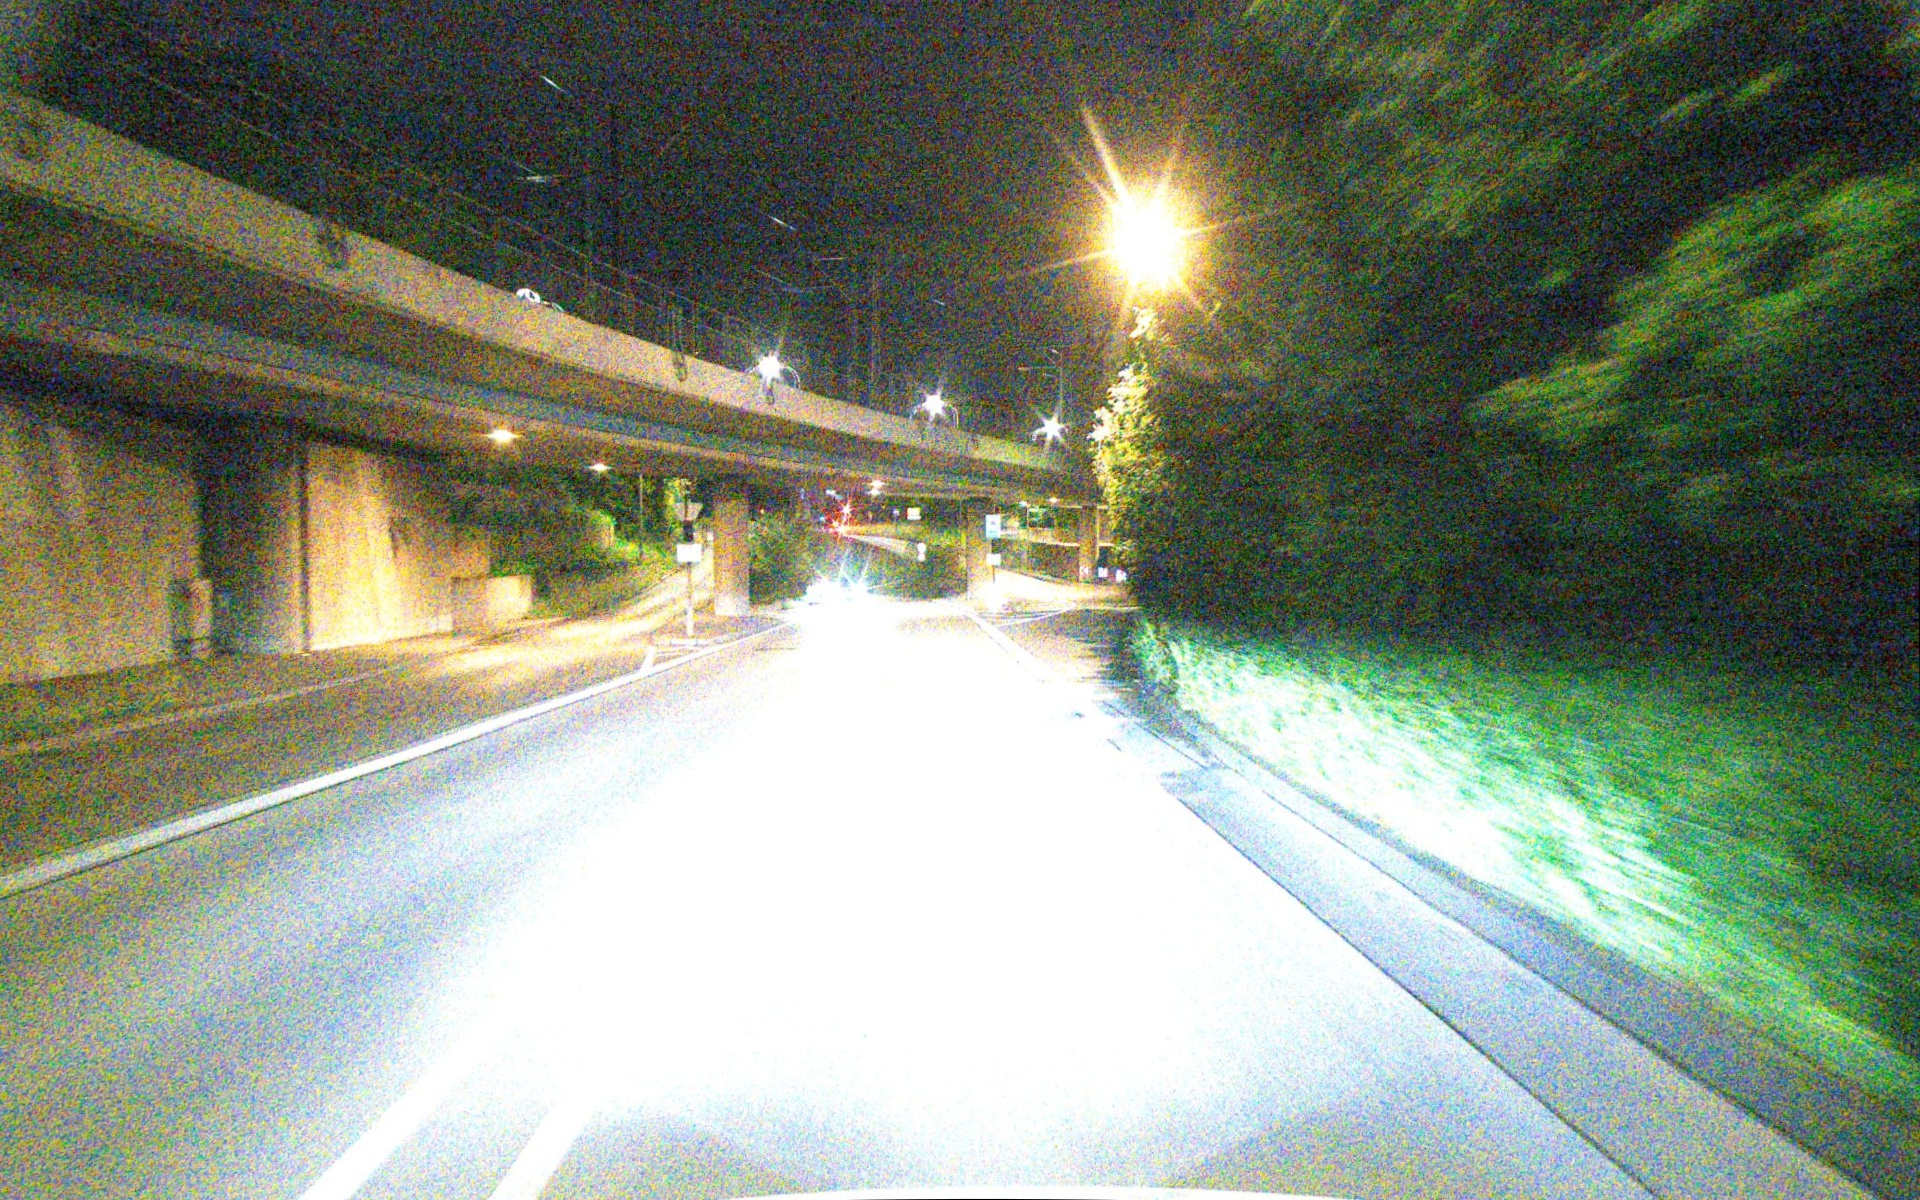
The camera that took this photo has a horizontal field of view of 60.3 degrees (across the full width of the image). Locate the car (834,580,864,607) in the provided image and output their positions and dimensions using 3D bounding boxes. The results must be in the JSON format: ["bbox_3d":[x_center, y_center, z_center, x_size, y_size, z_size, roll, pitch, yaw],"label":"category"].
[{"bbox_3d":[-7.003,-0.403,104.200,1.845,1.581,4.214,-1,0,-4],"label":"car"}]

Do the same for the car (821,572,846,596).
[{"bbox_3d":[-11.372,-1.424,148.856,1.883,2.049,4.114,2,-1,-8],"label":"car"}]
